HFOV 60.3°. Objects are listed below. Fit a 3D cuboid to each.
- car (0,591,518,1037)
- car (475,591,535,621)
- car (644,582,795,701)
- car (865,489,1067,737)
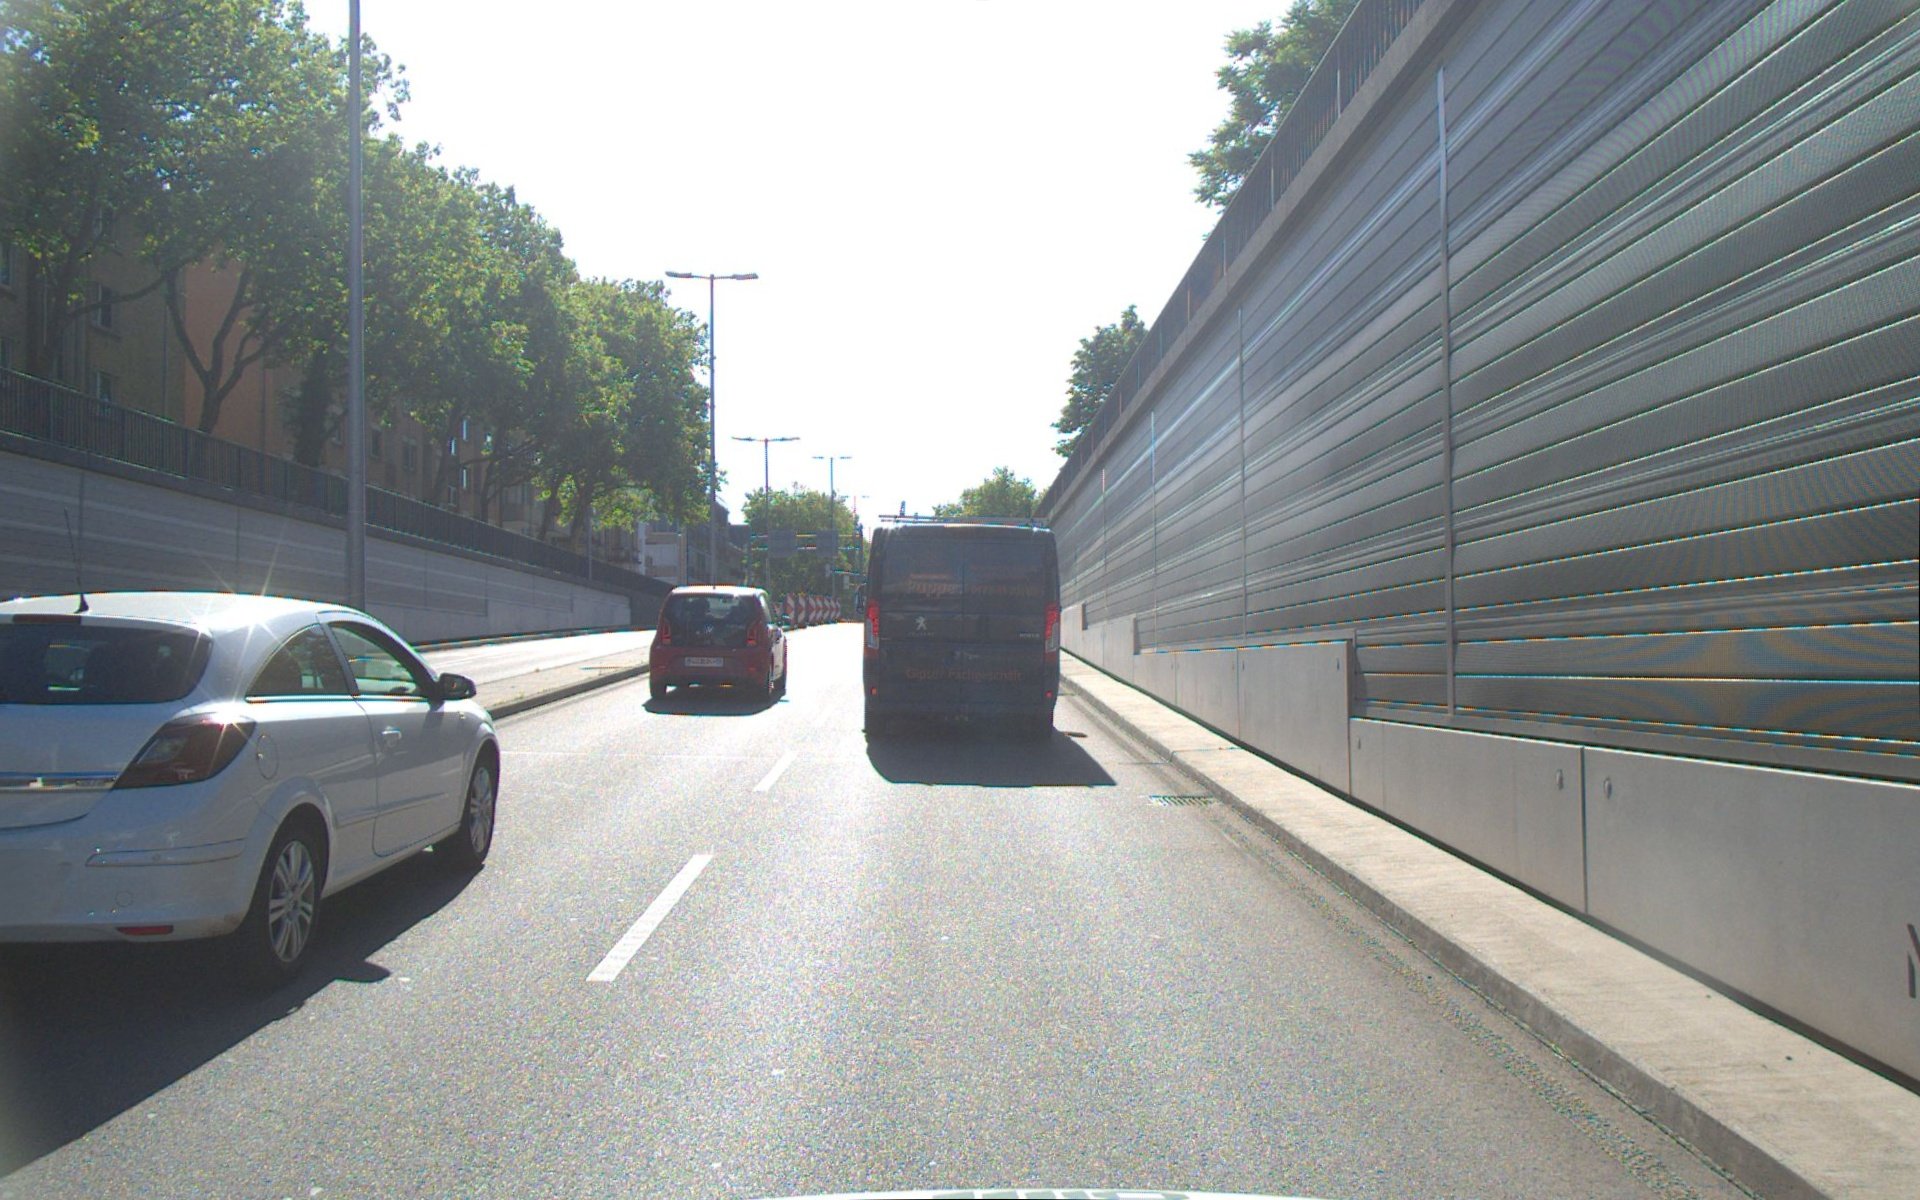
[{"bbox_3d":[-3.220,0.696,7.241,1.586,1.428,3.851,1,0,-1],"label":"car"},{"bbox_3d":[-23.276,0.318,84.808,1.953,1.413,4.171,1,-2,-1],"label":"car"},{"bbox_3d":[-3.249,0.520,22.833,1.655,1.509,3.318,1,0,-2],"label":"car"},{"bbox_3d":[0.031,0.146,18.358,1.989,2.444,3.972,0,-1,-1],"label":"car"}]
